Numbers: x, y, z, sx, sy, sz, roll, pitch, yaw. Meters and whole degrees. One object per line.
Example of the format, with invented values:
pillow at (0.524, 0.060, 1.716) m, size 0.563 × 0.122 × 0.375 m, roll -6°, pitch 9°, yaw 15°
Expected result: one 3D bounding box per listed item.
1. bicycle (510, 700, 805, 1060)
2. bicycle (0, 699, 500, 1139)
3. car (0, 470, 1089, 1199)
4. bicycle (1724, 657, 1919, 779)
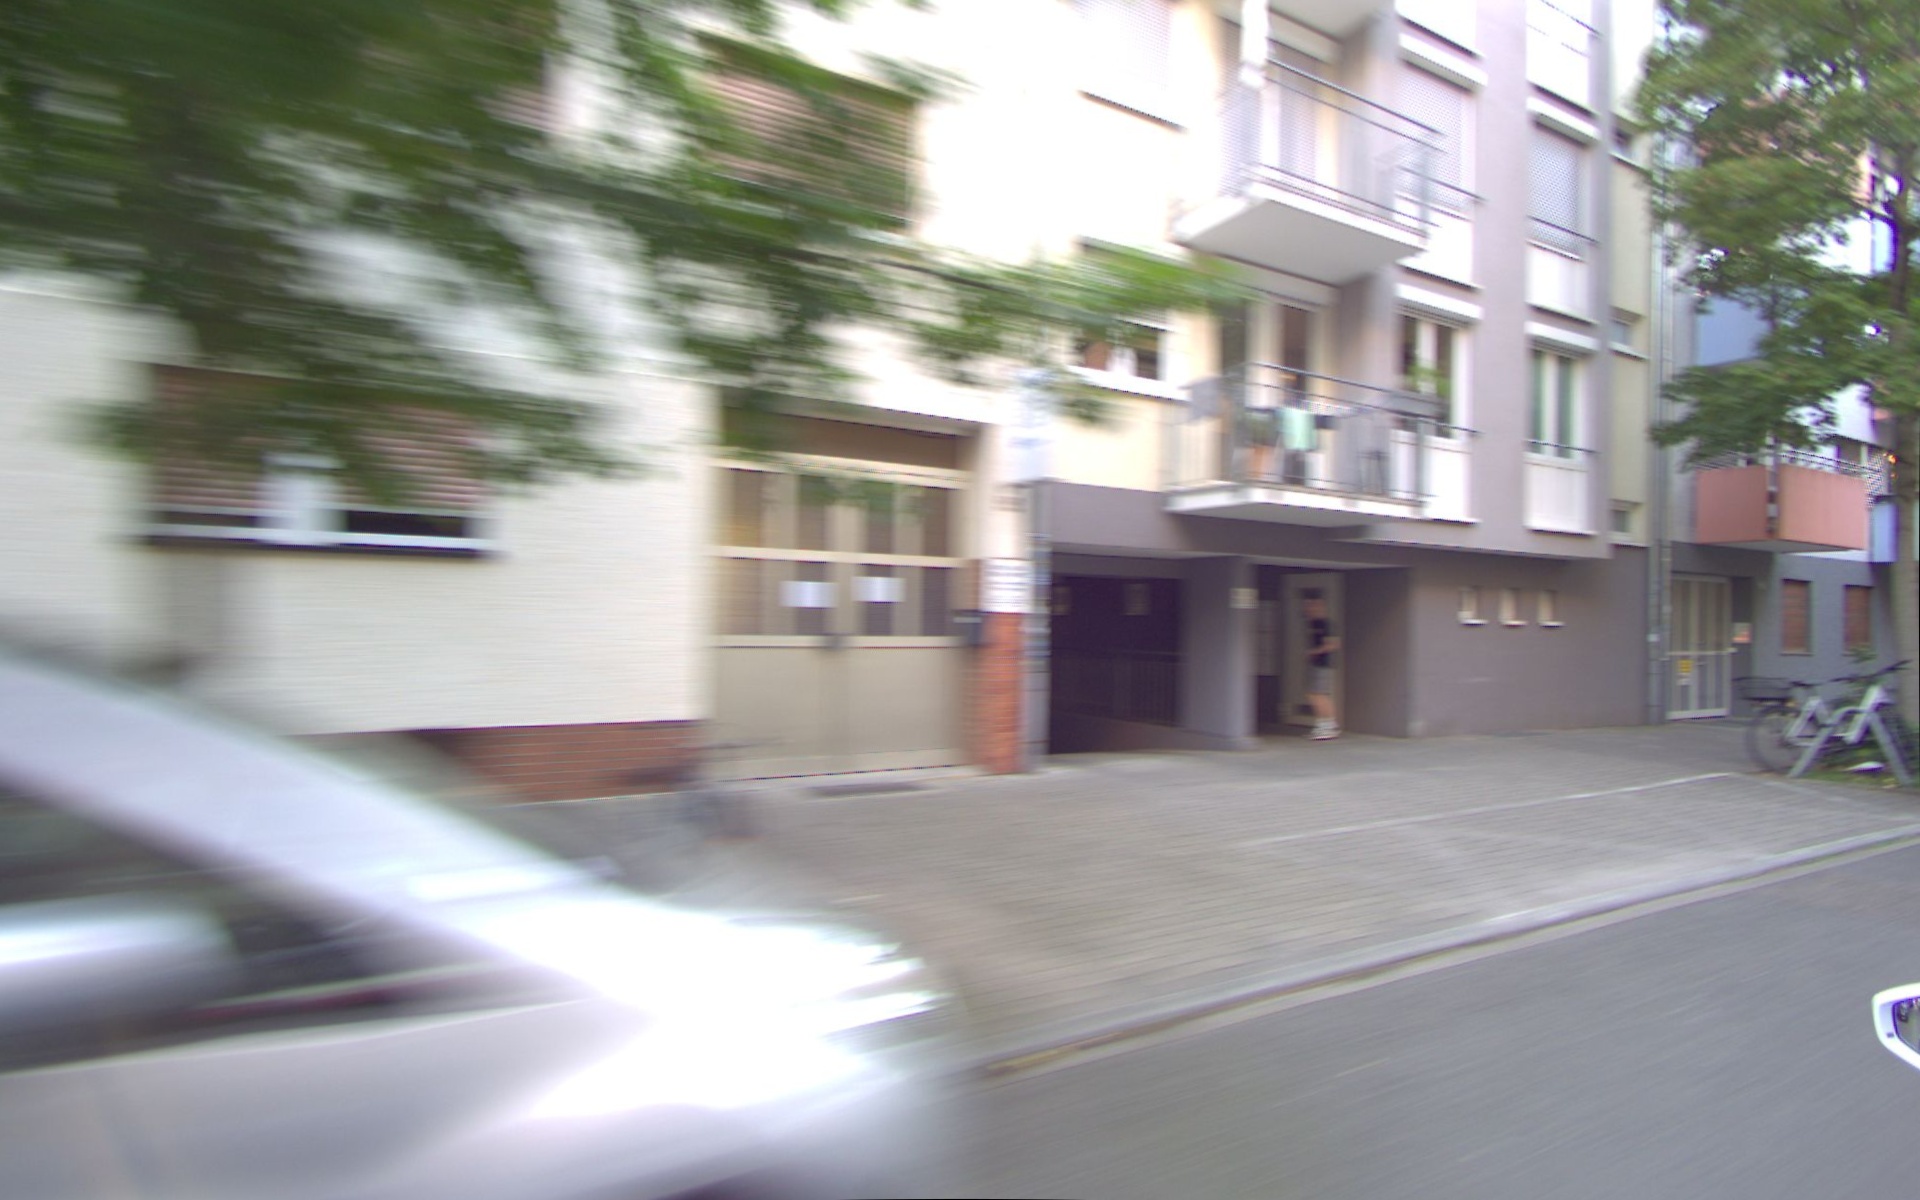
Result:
bicycle at (-1.104, 0.977, 4.082) m, size 0.565 × 1.008 × 1.732 m, roll 0°, pitch -1°, yaw 4°
bicycle at (-2.346, 0.901, 3.082) m, size 1.646 × 1.118 × 0.417 m, roll 2°, pitch 0°, yaw -31°
car at (-1.868, 0.663, 1.387) m, size 3.958 × 1.584 × 1.653 m, roll 2°, pitch -2°, yaw -33°
bicycle at (9.185, 1.209, 10.484) m, size 1.786 × 1.179 × 0.699 m, roll 0°, pitch -1°, yaw 12°
